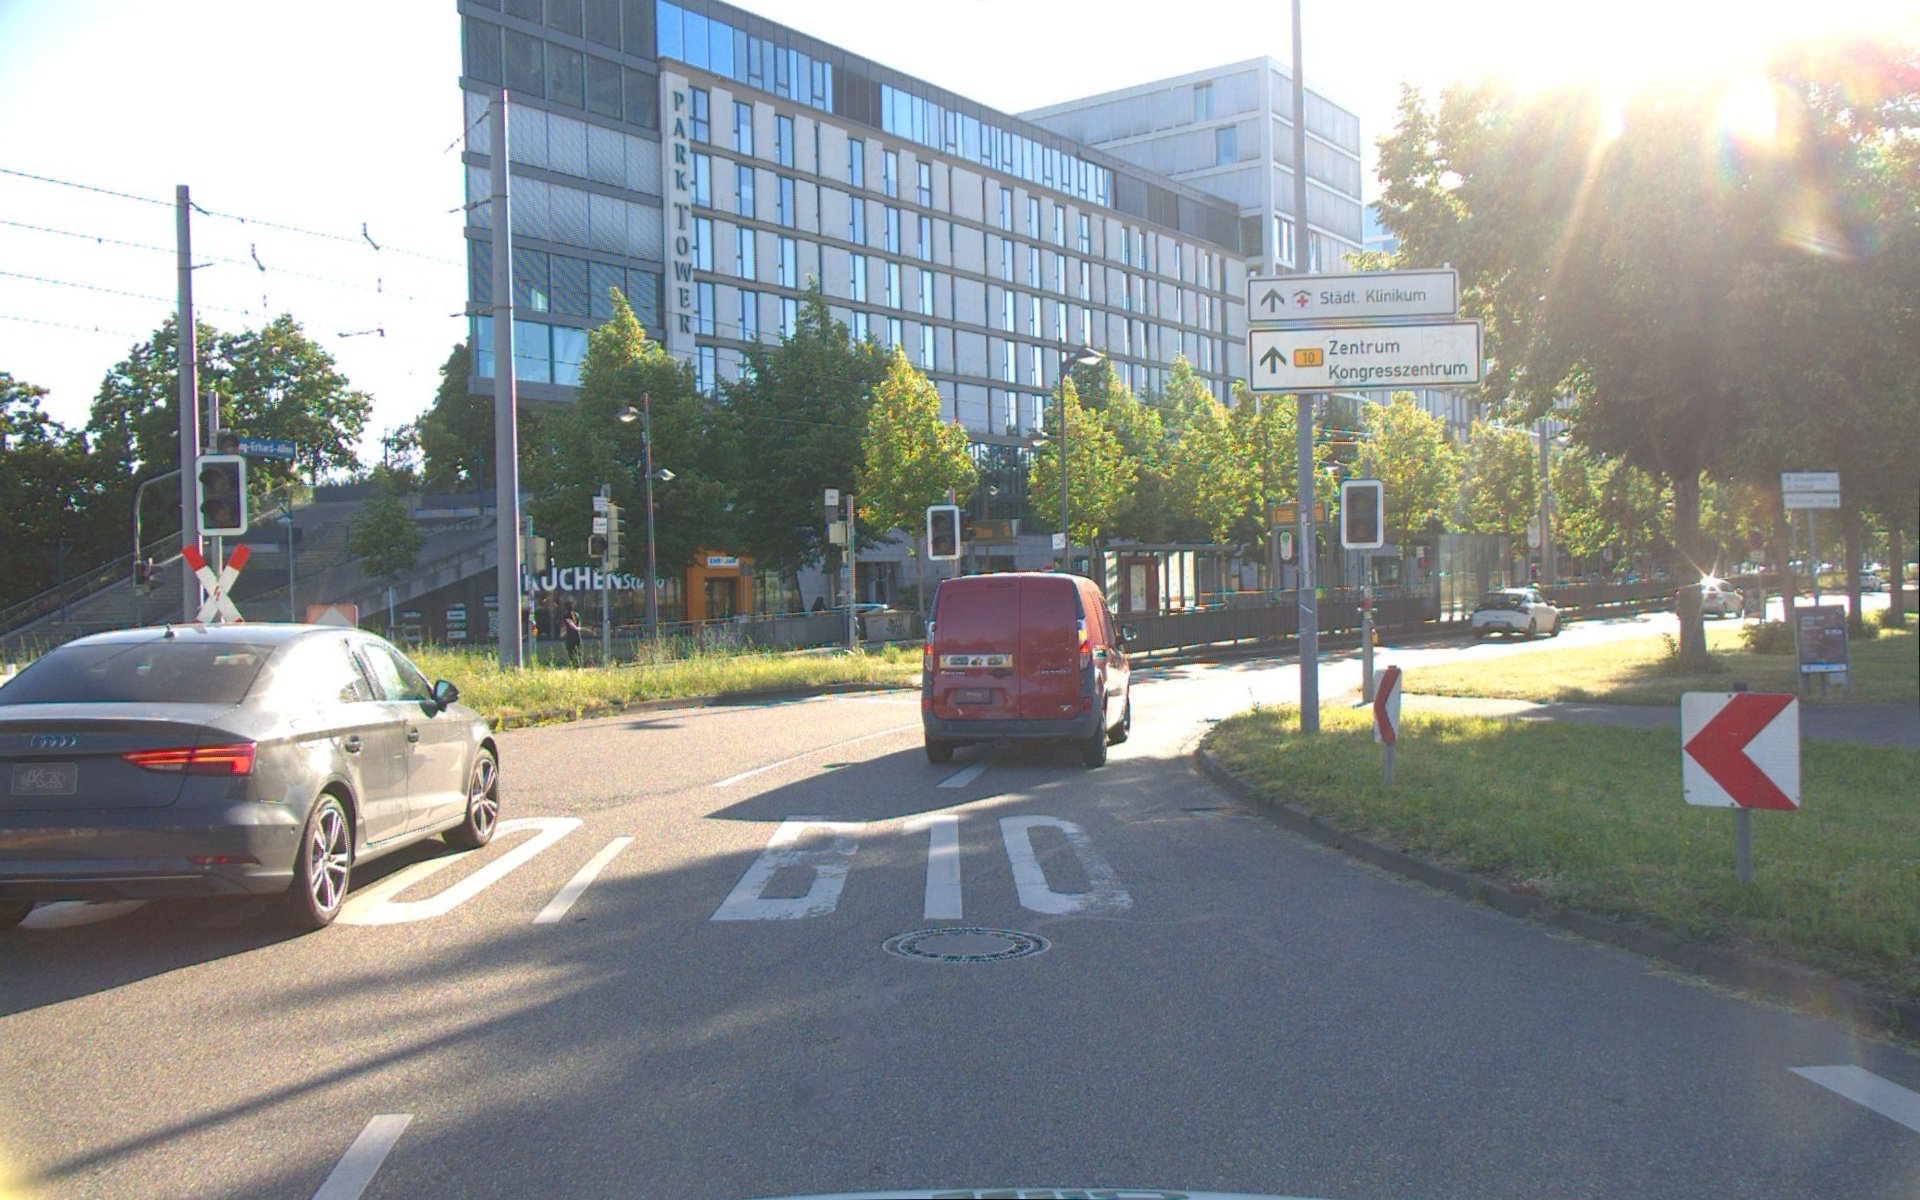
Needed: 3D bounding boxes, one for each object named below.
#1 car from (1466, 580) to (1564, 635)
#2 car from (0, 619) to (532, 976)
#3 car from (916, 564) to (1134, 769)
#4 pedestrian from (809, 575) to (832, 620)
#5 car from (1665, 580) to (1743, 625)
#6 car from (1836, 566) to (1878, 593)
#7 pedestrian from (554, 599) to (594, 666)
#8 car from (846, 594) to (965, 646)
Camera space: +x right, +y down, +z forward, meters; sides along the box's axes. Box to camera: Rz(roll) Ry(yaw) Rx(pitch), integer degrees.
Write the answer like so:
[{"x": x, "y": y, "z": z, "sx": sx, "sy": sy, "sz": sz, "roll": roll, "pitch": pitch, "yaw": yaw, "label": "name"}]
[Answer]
[{"x": 16.721, "y": 0.190, "z": 49.755, "sx": 1.772, "sy": 1.486, "sz": 3.795, "roll": 0, "pitch": 2, "yaw": 36, "label": "car"}, {"x": -3.732, "y": 0.840, "z": 8.954, "sx": 1.724, "sy": 1.404, "sz": 4.358, "roll": -1, "pitch": 0, "yaw": -1, "label": "car"}, {"x": 0.780, "y": 0.590, "z": 16.866, "sx": 1.764, "sy": 1.845, "sz": 3.813, "roll": 0, "pitch": 0, "yaw": 9, "label": "car"}, {"x": -6.400, "y": -0.127, "z": 76.155, "sx": 0.627, "sy": 2.049, "sz": 0.830, "roll": -1, "pitch": 1, "yaw": 37, "label": "pedestrian"}, {"x": 29.351, "y": 0.076, "z": 65.176, "sx": 1.960, "sy": 1.602, "sz": 4.392, "roll": -2, "pitch": 1, "yaw": 36, "label": "car"}, {"x": 59.336, "y": -1.372, "z": 109.389, "sx": 1.959, "sy": 1.602, "sz": 4.393, "roll": -2, "pitch": 1, "yaw": 35, "label": "car"}, {"x": -8.796, "y": 0.727, "z": 37.686, "sx": 0.544, "sy": 1.491, "sz": 0.675, "roll": -1, "pitch": 0, "yaw": 33, "label": "pedestrian"}, {"x": -1.810, "y": 0.664, "z": 55.935, "sx": 1.903, "sy": 1.602, "sz": 3.957, "roll": -1, "pitch": 0, "yaw": 39, "label": "car"}]
